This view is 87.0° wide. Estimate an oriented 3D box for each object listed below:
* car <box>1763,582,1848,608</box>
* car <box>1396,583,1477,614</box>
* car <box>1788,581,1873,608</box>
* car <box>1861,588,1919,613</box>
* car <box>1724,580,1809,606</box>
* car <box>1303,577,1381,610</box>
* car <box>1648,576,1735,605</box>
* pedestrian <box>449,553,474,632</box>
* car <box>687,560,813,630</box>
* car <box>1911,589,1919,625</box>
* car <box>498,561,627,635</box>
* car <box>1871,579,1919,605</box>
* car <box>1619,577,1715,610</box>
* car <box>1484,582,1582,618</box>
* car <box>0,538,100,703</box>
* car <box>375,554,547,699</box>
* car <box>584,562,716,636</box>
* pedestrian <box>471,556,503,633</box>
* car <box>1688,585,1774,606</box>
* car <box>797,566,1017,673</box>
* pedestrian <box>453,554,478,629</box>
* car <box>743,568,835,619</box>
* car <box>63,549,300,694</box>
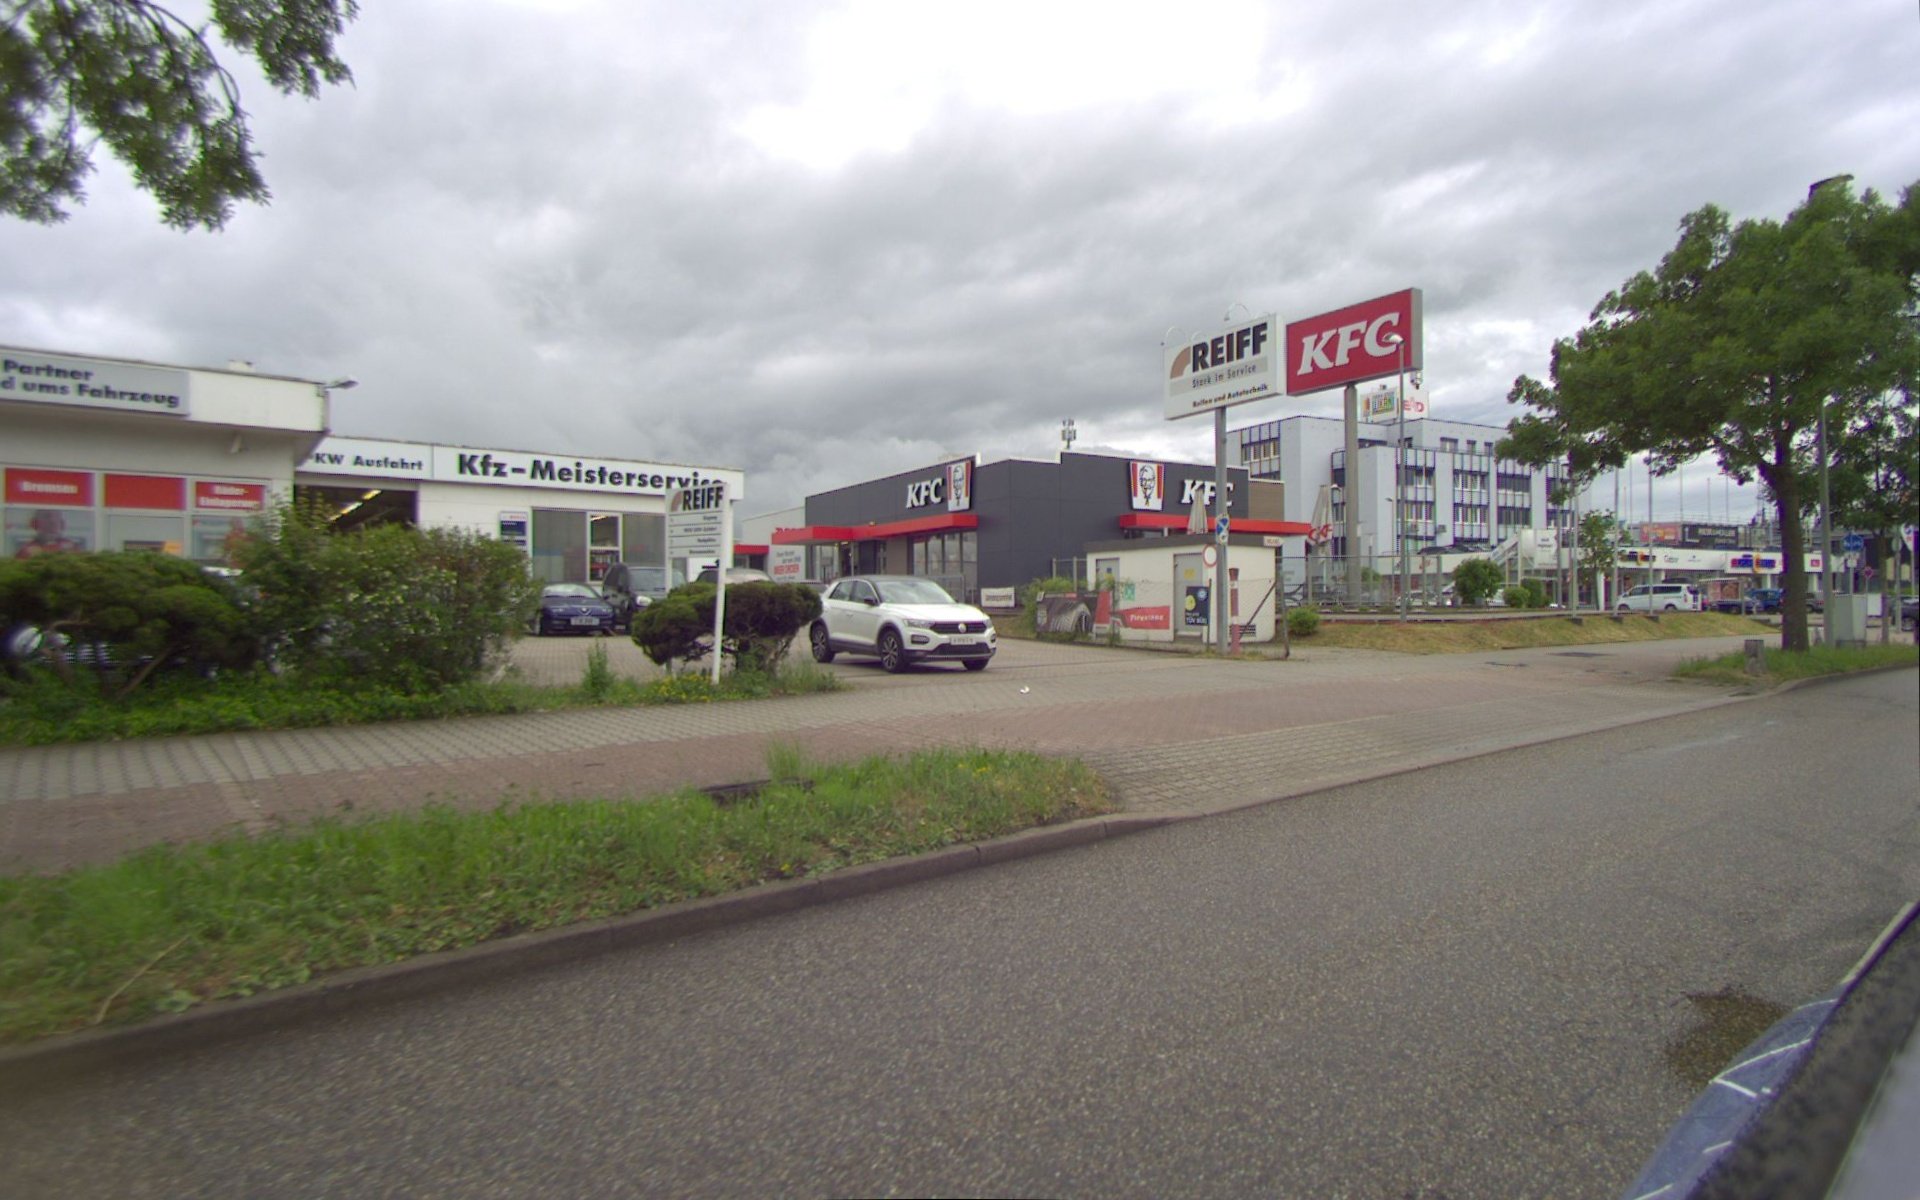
[{"bbox_3d":[62.097,-0.386,74.416,1.858,1.786,4.382,0,1,-26],"label":"car"},{"bbox_3d":[27.832,-0.113,59.184,1.787,1.730,4.005,0,1,-30],"label":"car"},{"bbox_3d":[64.570,-0.444,75.121,1.858,1.930,4.382,0,1,-26],"label":"car"},{"bbox_3d":[56.805,0.026,60.395,1.785,1.411,4.135,0,1,-23],"label":"car"},{"bbox_3d":[57.620,-0.539,72.387,1.858,1.786,4.382,0,1,-26],"label":"car"},{"bbox_3d":[21.761,-0.370,57.570,4.414,1.762,1.894,0,1,-33],"label":"car"},{"bbox_3d":[48.900,-0.647,67.763,1.858,1.843,4.382,0,1,-26],"label":"car"},{"bbox_3d":[-11.524,-0.184,23.414,0.505,1.807,0.439,0,1,-25],"label":"pedestrian"},{"bbox_3d":[-5.584,-0.146,26.557,1.919,1.701,4.002,0,1,-33],"label":"car"},{"bbox_3d":[44.491,0.323,44.238,1.780,1.559,4.001,-1,1,-34],"label":"car"},{"bbox_3d":[-9.487,-0.088,23.983,1.744,1.599,3.997,0,1,-39],"label":"car"},{"bbox_3d":[75.256,-0.607,80.248,1.871,2.039,4.008,0,1,-23],"label":"car"},{"bbox_3d":[46.156,-0.428,66.185,1.959,2.039,4.796,1,1,-25],"label":"car"},{"bbox_3d":[30.795,-0.007,54.491,1.762,1.806,4.254,3,-1,-30],"label":"car"},{"bbox_3d":[-10.626,0.184,9.972,1.783,1.683,4.165,2,0,-18],"label":"car"},{"bbox_3d":[-6.379,0.233,12.944,1.683,1.541,4.007,0,1,-27],"label":"car"},{"bbox_3d":[-7.901,-0.081,25.576,1.921,1.700,3.998,0,1,-37],"label":"car"},{"bbox_3d":[-10.695,-0.132,22.892,0.433,1.726,0.512,0,1,23],"label":"pedestrian"},{"bbox_3d":[53.065,-0.313,69.745,1.786,1.411,4.382,0,1,-26],"label":"car"},{"bbox_3d":[-1.028,0.256,17.087,1.853,1.571,4.190,0,1,-33],"label":"car"},{"bbox_3d":[-12.211,-0.216,24.982,0.495,1.807,0.516,0,1,-35],"label":"pedestrian"},{"bbox_3d":[-6.226,-0.252,36.465,1.865,1.722,4.181,0,1,-31],"label":"car"},{"bbox_3d":[-9.691,0.179,12.926,1.697,1.542,3.947,0,1,-27],"label":"car"}]
